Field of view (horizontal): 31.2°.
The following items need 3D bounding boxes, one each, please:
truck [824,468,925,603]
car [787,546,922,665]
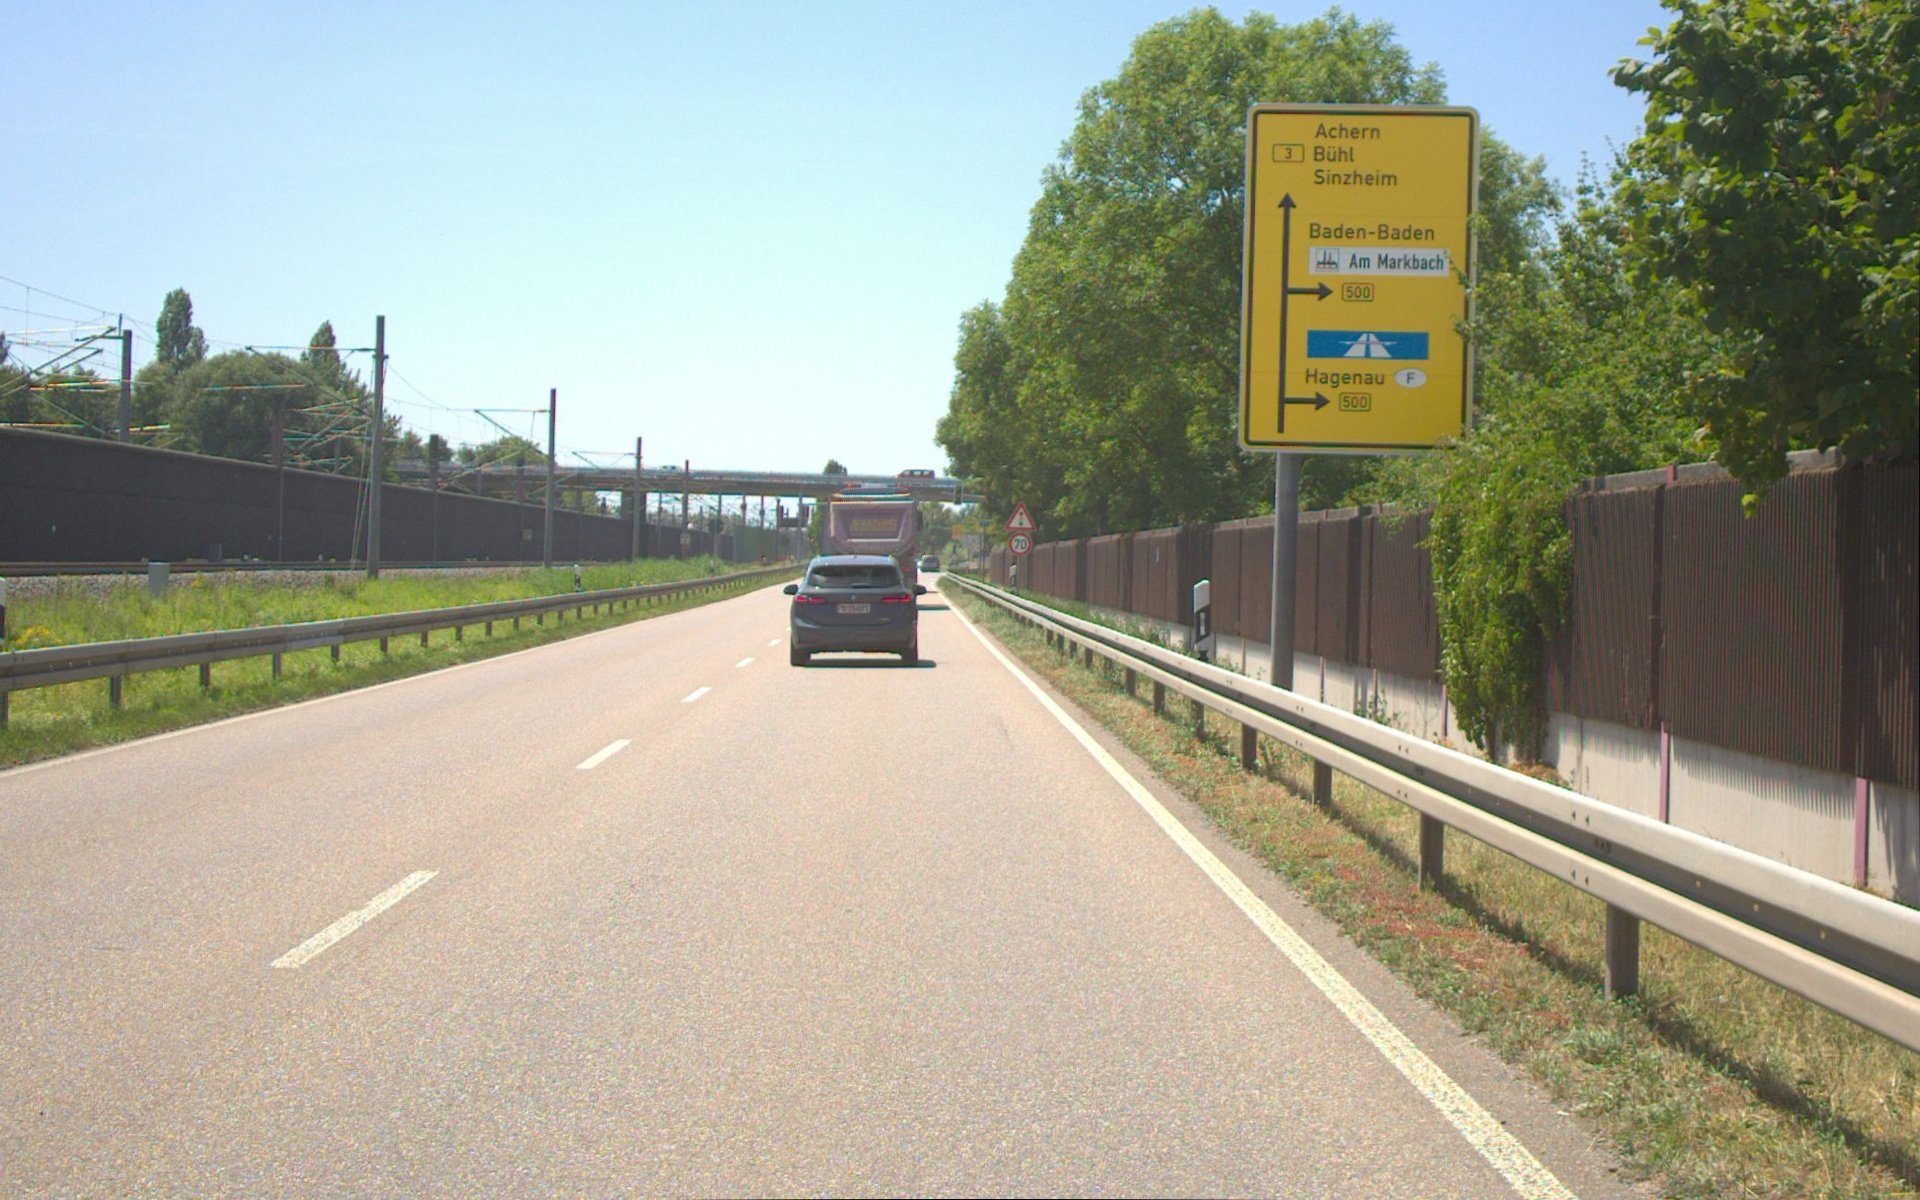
[{"bbox_3d":[-2.542,-1.892,103.163,2.833,3.808,11.886,1,1,-1],"label":"truck"},{"bbox_3d":[-1.545,0.051,49.656,1.844,1.617,4.226,1,1,-2],"label":"car"}]
